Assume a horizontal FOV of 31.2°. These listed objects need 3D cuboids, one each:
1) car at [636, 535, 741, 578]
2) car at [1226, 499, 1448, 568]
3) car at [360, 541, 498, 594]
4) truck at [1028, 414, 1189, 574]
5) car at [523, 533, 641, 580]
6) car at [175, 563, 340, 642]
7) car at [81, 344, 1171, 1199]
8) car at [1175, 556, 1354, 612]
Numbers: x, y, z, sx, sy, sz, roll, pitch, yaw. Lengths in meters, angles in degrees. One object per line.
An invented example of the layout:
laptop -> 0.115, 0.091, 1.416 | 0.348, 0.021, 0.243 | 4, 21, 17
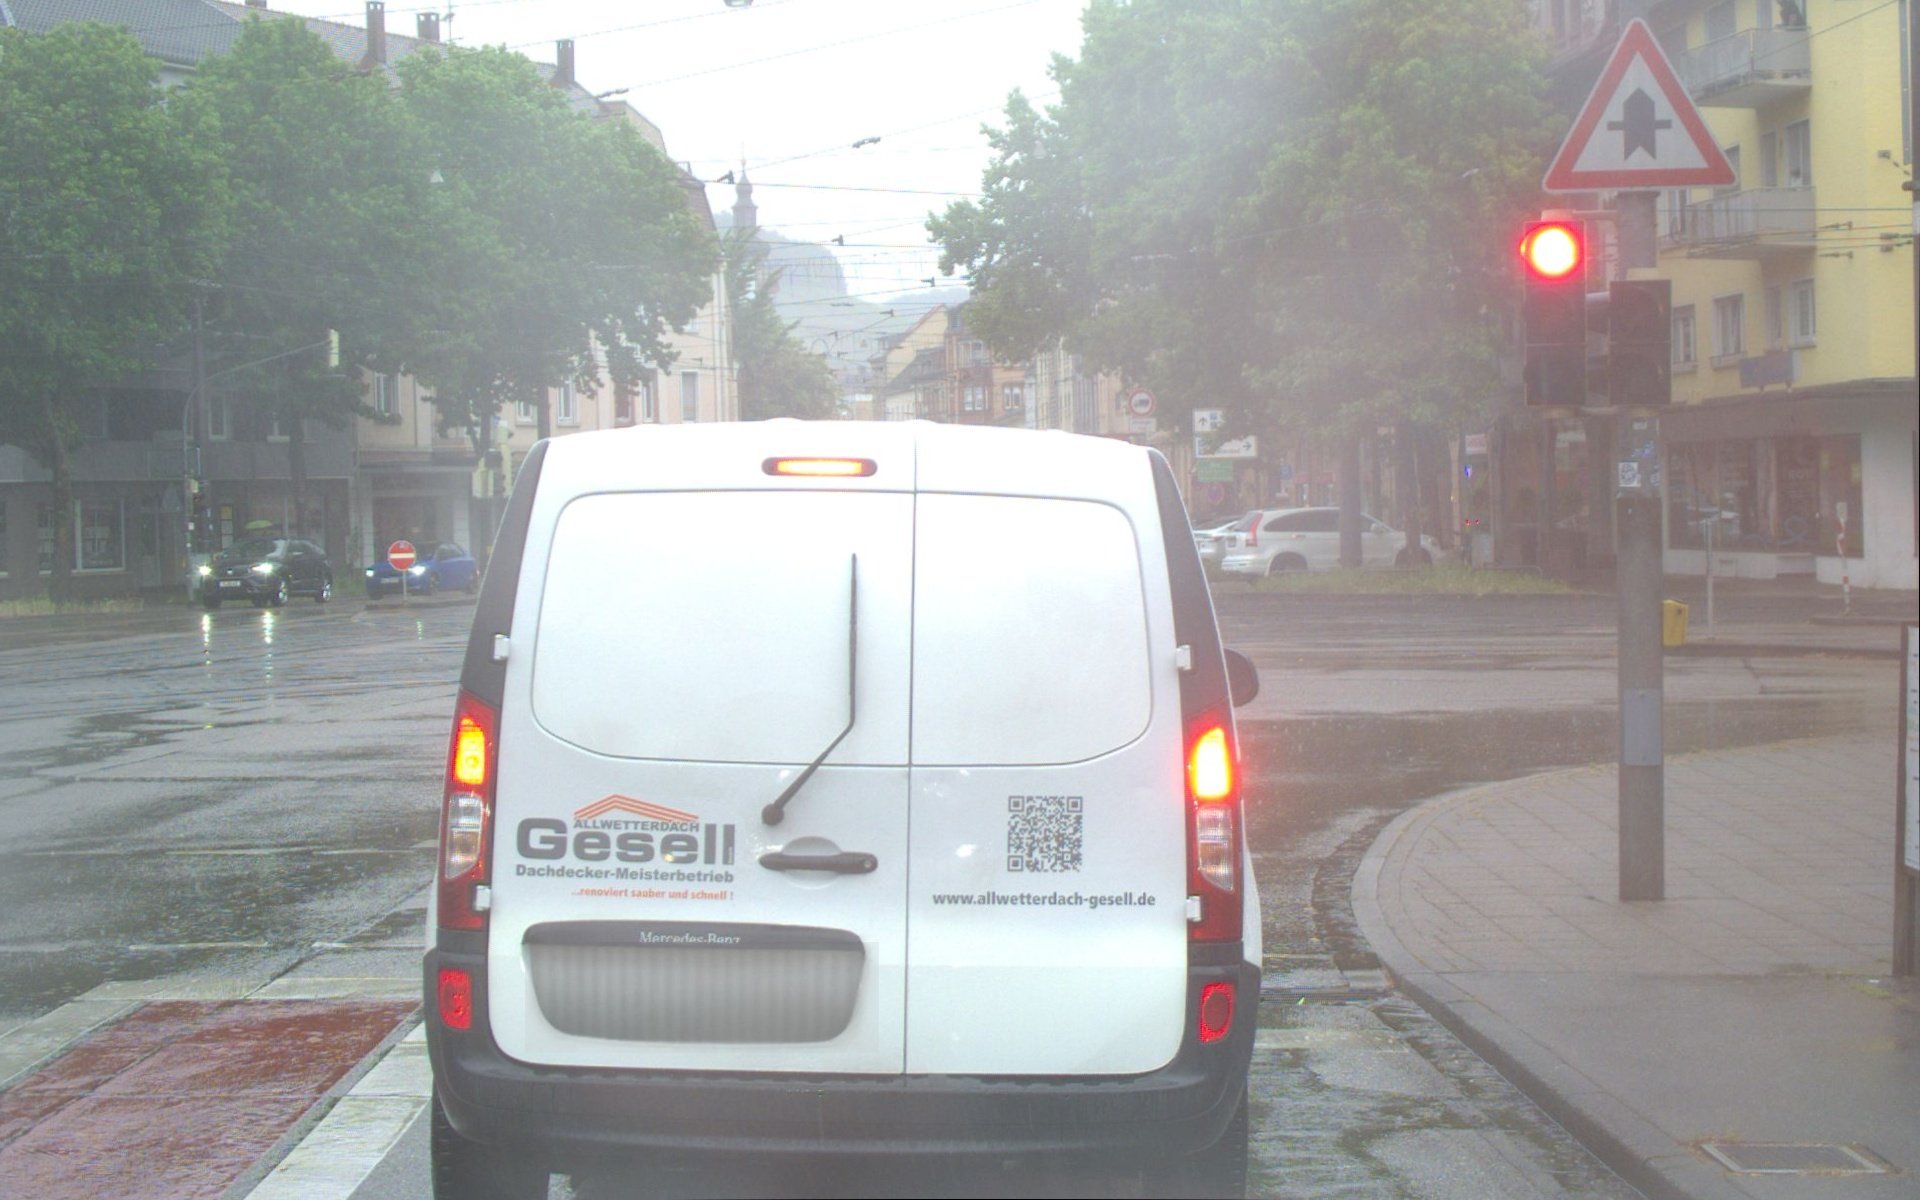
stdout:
car -> -8.494, -1.389, 107.870 | 1.952, 1.235, 3.997 | 0, 2, 16
car -> 7.539, -1.345, 68.917 | 4.165, 1.334, 1.521 | -1, 2, -7
car -> -13.461, -0.839, 87.368 | 1.952, 1.235, 3.997 | 0, 2, 16
truck -> 5.211, -3.475, 116.757 | 3.471, 5.070, 15.301 | 0, 1, 10
car -> -10.760, -1.245, 98.016 | 1.952, 1.235, 3.997 | 0, 2, 16
car -> -15.748, 0.028, 77.248 | 1.952, 1.602, 3.997 | 0, 2, 16
car -> -0.672, 0.486, 9.146 | 2.100, 2.005, 4.963 | 0, 1, -1
car -> 6.269, -0.332, 70.939 | 3.441, 1.126, 1.472 | 0, 1, -8
